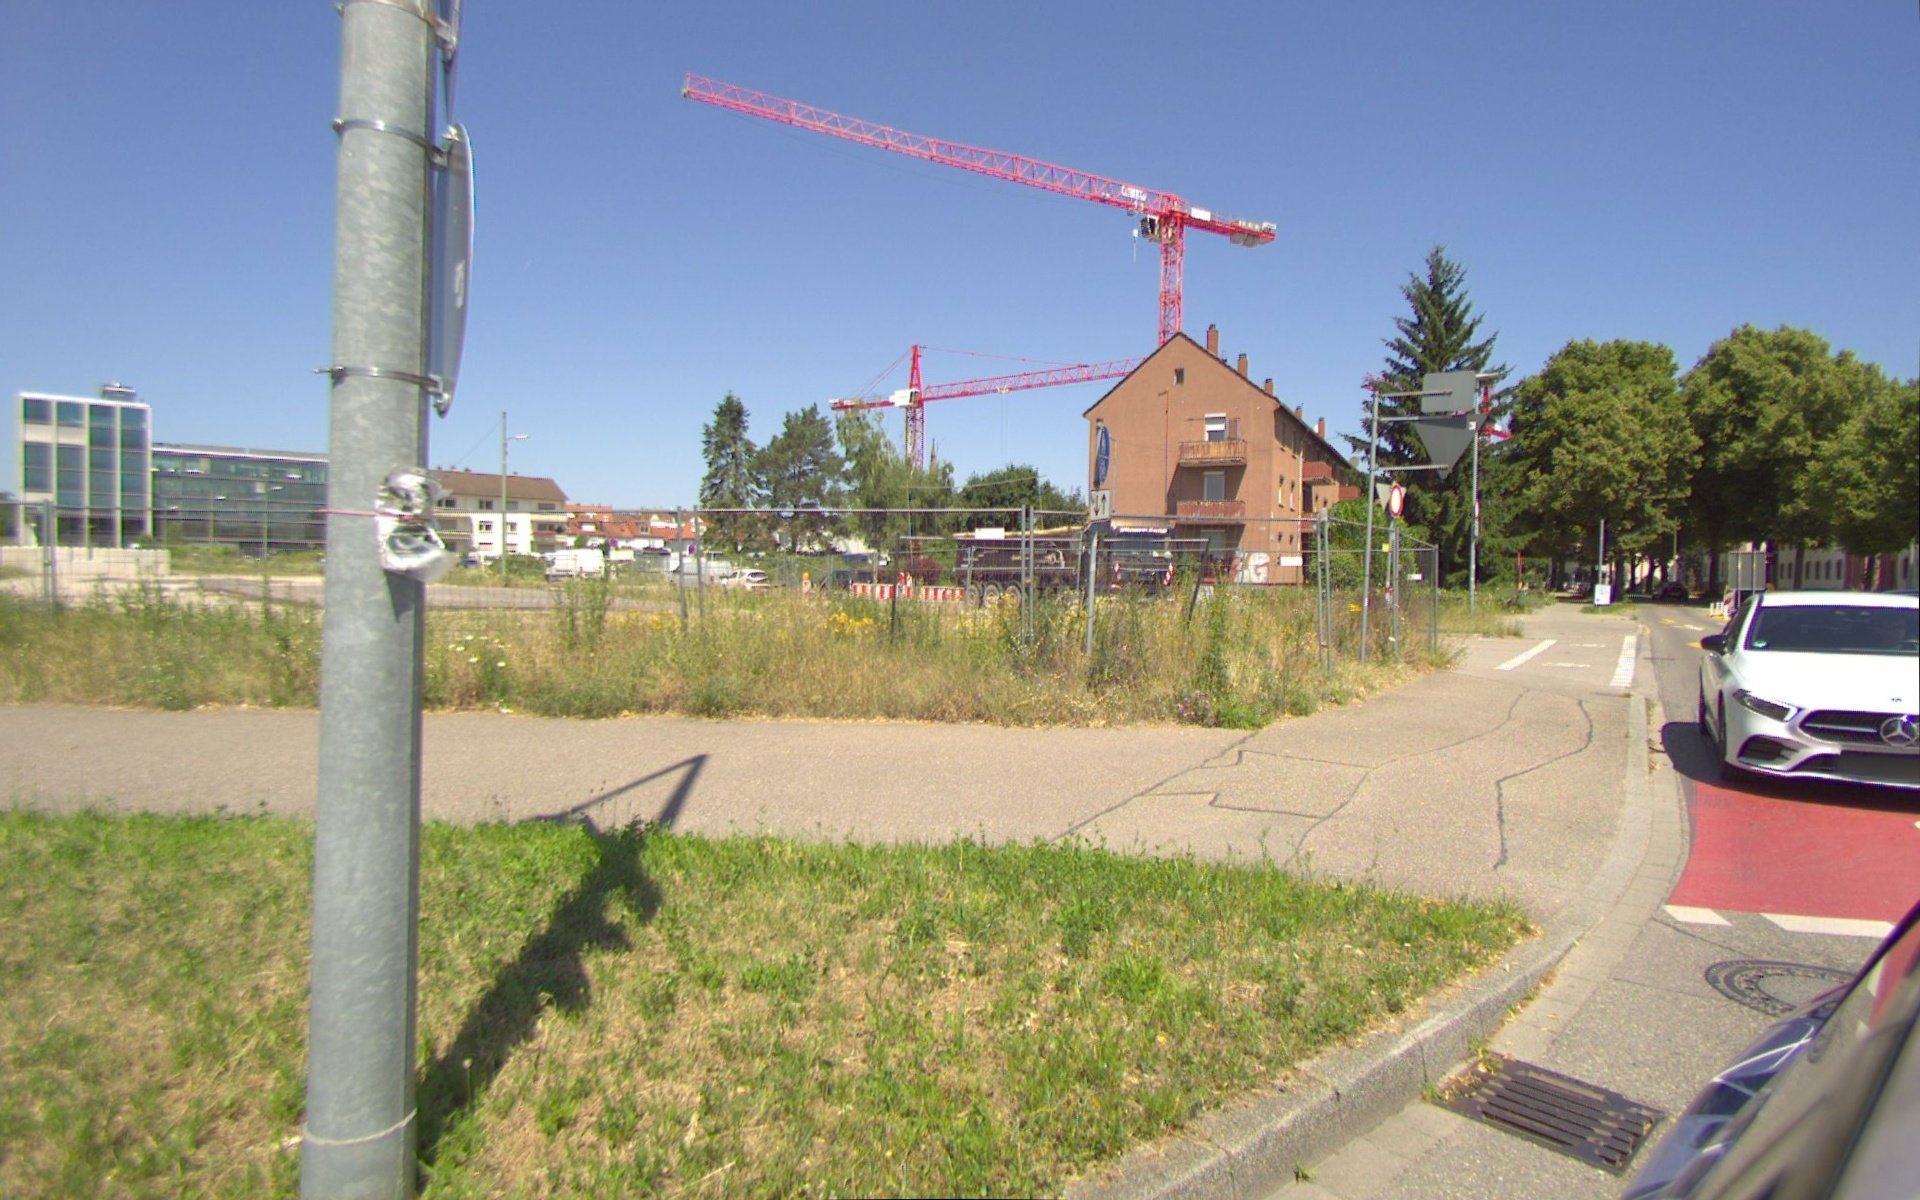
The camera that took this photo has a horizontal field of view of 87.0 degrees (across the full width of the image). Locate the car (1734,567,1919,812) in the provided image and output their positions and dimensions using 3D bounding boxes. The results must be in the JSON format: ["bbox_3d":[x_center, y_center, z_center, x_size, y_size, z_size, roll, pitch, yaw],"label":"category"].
[{"bbox_3d":[7.352,0.556,8.114,1.772,1.564,3.909,2,2,38],"label":"car"}]

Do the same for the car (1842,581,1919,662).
[{"bbox_3d":[18.305,0.400,17.944,1.772,1.469,4.608,0,1,8],"label":"car"}]

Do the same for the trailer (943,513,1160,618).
[{"bbox_3d":[3.246,-1.360,39.042,3.106,3.576,8.990,0,2,-37],"label":"trailer"}]

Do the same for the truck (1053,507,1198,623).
[{"bbox_3d":[5.447,-1.172,34.286,3.098,3.576,4.976,1,2,-13],"label":"truck"}]

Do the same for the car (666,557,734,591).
[{"bbox_3d":[-16.447,-1.637,63.982,4.661,2.038,1.759,2,2,40],"label":"car"}]

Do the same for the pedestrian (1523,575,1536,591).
[{"bbox_3d":[55.498,-1.648,98.554,1.018,1.536,0.674,2,2,35],"label":"pedestrian"}]

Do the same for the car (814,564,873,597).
[{"bbox_3d":[-6.184,-1.041,53.313,1.347,1.633,3.413,0,2,-42],"label":"car"}]

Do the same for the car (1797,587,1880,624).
[{"bbox_3d":[36.111,0.182,41.679,1.628,1.399,3.854,2,2,27],"label":"car"}]

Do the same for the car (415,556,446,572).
[{"bbox_3d":[-51.992,-3.525,99.302,1.653,1.606,3.612,-2,2,-45],"label":"car"}]

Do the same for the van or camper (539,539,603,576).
[{"bbox_3d":[-29.644,-3.234,76.947,1.898,2.634,6.985,0,2,-44],"label":"van or camper"}]

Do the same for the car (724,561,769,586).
[{"bbox_3d":[-12.733,-1.582,60.288,1.395,1.423,2.785,-2,4,-43],"label":"car"}]
